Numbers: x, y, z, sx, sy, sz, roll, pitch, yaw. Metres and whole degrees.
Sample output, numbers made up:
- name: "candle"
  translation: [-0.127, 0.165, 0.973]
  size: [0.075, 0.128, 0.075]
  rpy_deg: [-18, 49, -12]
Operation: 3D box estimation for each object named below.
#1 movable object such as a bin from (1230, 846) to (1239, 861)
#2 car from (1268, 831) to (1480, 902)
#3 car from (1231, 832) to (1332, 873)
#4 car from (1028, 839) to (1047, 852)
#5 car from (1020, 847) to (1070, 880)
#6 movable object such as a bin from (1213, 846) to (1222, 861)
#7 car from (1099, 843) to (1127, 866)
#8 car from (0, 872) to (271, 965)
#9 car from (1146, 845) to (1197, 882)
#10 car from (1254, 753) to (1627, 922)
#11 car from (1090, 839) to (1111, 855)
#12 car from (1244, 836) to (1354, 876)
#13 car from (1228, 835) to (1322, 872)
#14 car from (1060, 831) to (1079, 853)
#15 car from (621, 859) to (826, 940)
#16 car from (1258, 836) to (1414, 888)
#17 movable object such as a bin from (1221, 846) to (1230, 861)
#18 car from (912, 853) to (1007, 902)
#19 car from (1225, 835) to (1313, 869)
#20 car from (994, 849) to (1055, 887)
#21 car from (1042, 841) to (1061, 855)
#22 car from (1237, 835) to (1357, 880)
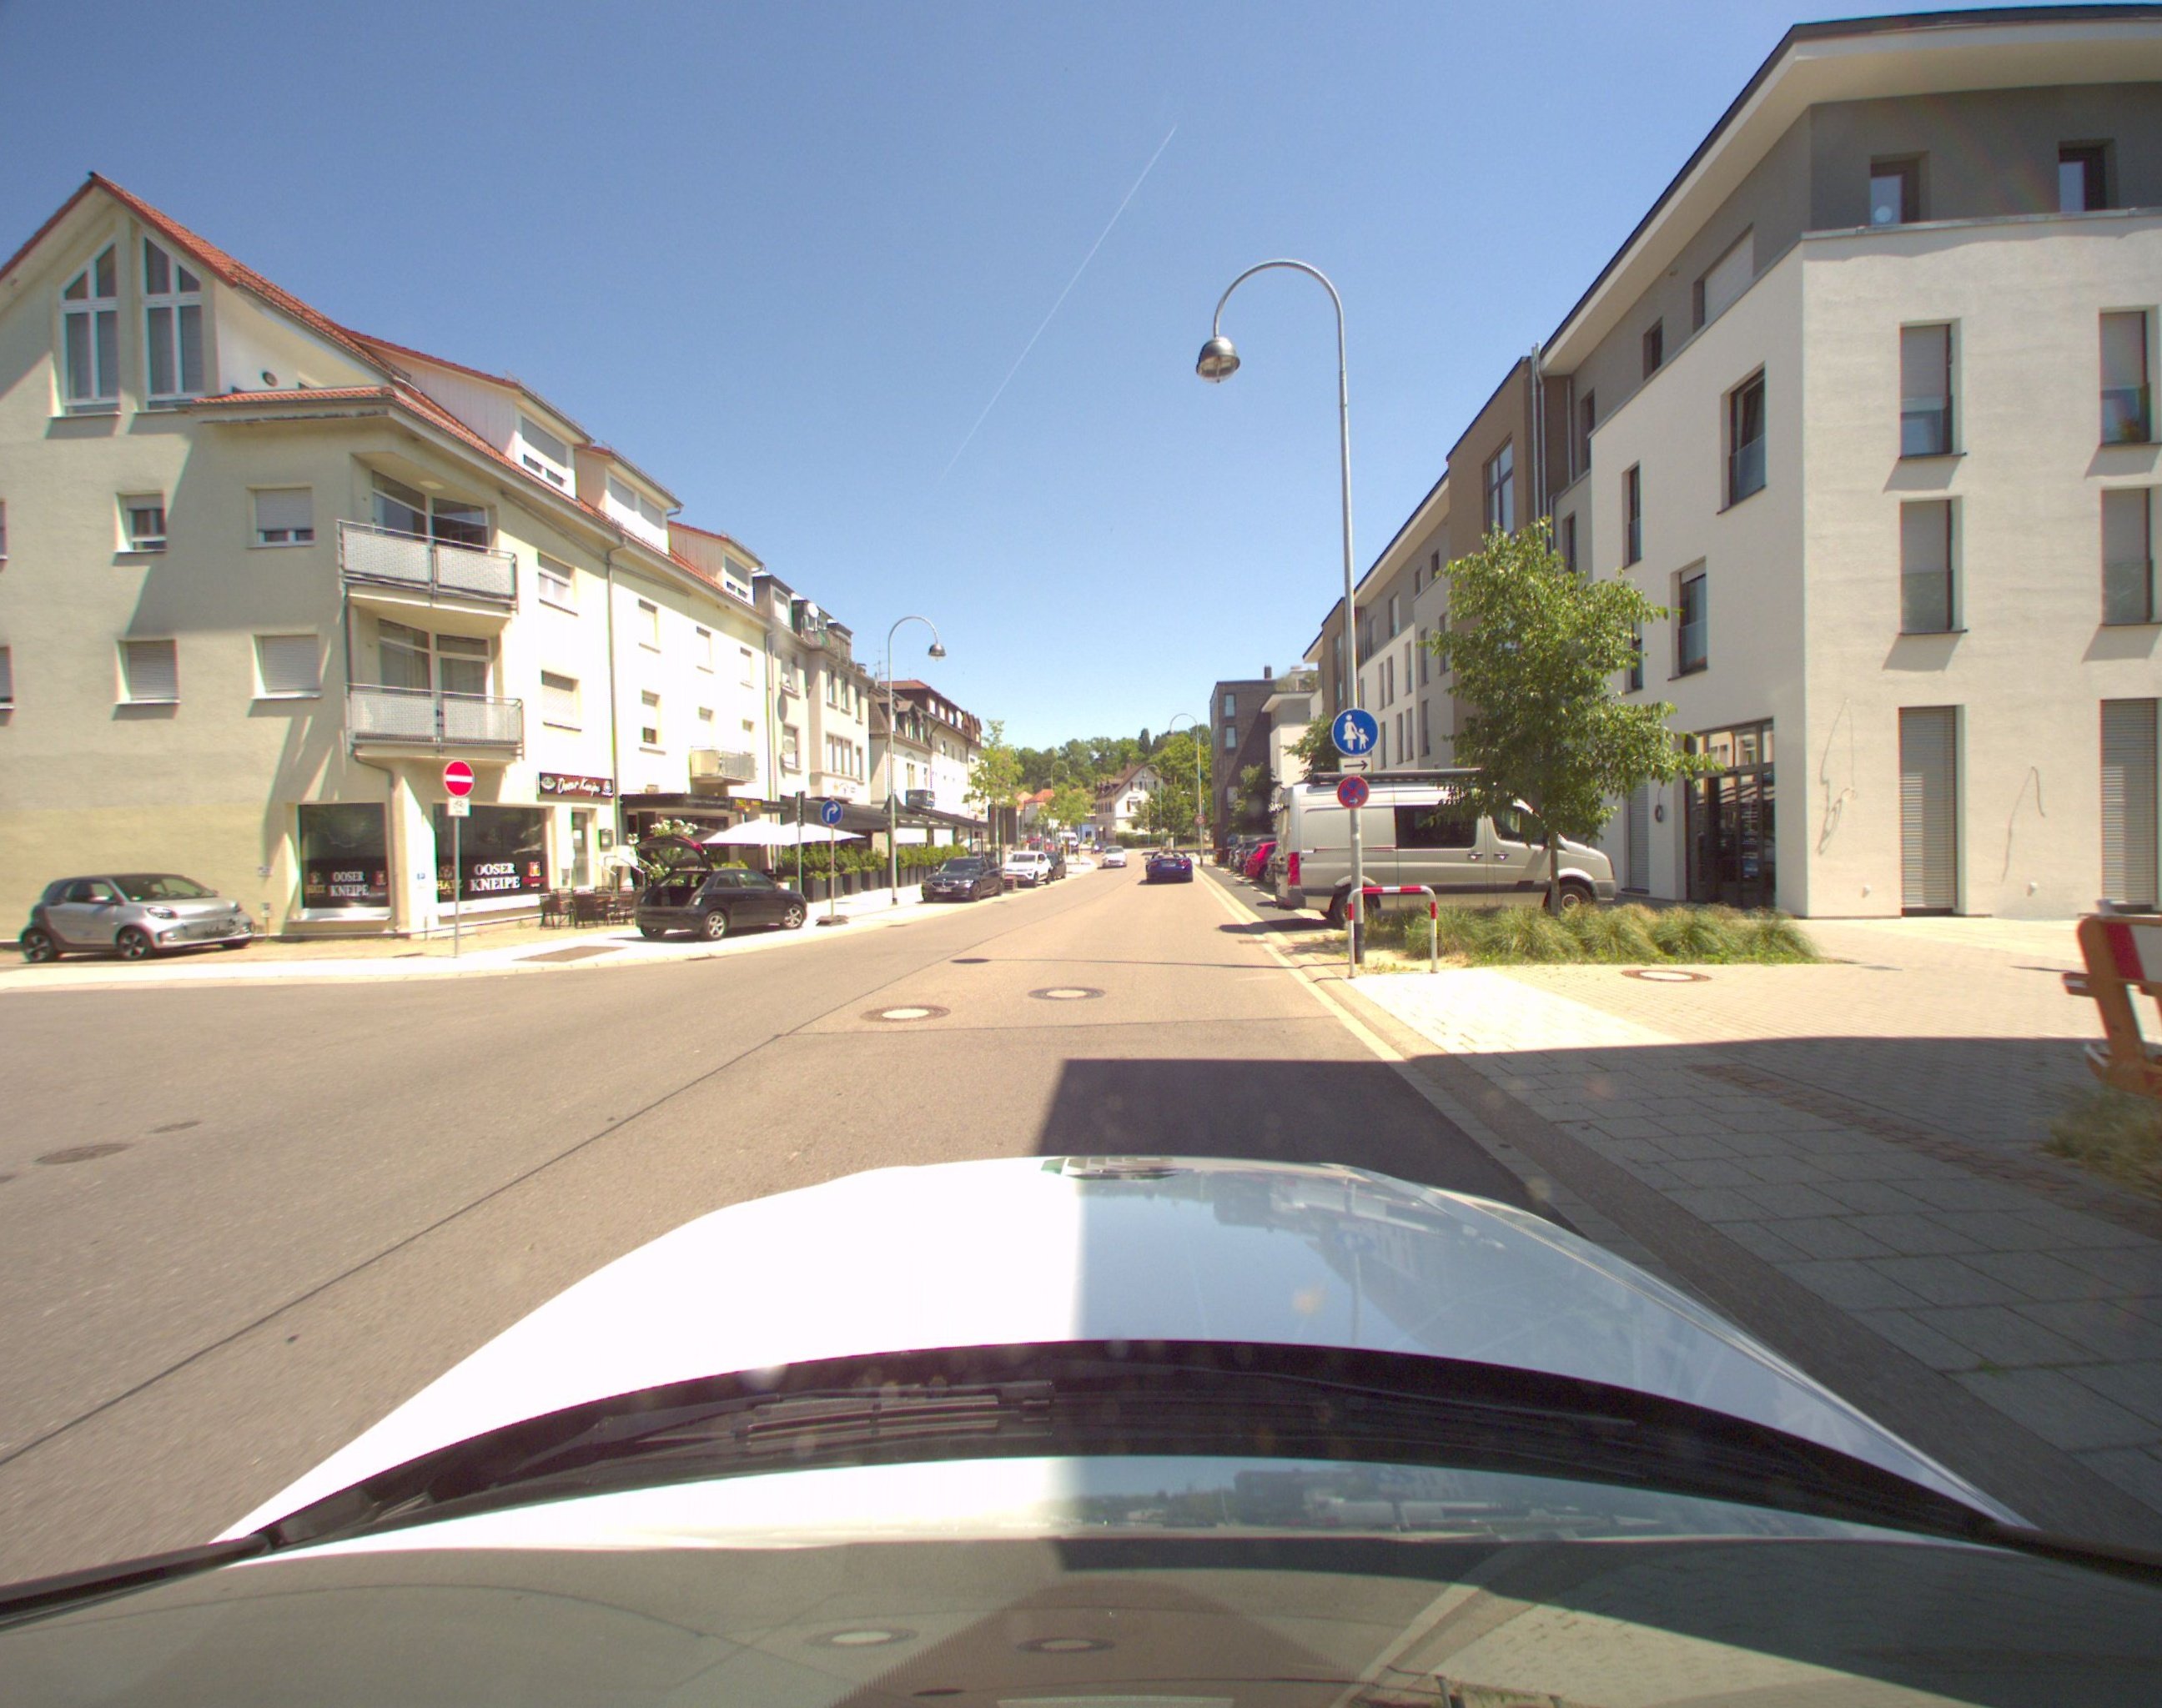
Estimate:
- name: "movable object such as a bin"
  translation: [9.871, -0.041, 52.496]
  size: [0.492, 0.929, 0.624]
  rpy_deg: [-4, 0, 7]
- name: "car"
  translation: [7.037, 0.291, 20.017]
  size: [4.563, 1.529, 2.004]
  rpy_deg: [-2, 0, 6]
- name: "car"
  translation: [8.589, -0.056, 35.196]
  size: [3.961, 1.605, 1.946]
  rpy_deg: [-2, 0, 5]
- name: "car"
  translation: [-6.020, -1.196, 112.943]
  size: [1.996, 1.692, 3.982]
  rpy_deg: [-1, 1, -13]
- name: "car"
  translation: [-1.751, 0.437, 40.934]
  size: [1.660, 1.443, 4.020]
  rpy_deg: [-2, 1, 9]
- name: "movable object such as a bin"
  translation: [8.816, -0.056, 52.619]
  size: [0.534, 0.929, 0.624]
  rpy_deg: [-4, 0, 7]
- name: "car"
  translation: [2.285, 0.012, 57.163]
  size: [1.679, 1.458, 4.064]
  rpy_deg: [-3, 1, 5]
- name: "car"
  translation: [-17.610, 1.158, 15.197]
  size: [3.250, 1.458, 1.693]
  rpy_deg: [-2, 1, 1]
- name: "car"
  translation: [3.882, 0.343, 34.380]
  size: [1.860, 1.342, 4.608]
  rpy_deg: [-3, 1, 9]
- name: "car"
  translation: [6.345, -0.271, 15.100]
  size: [5.910, 2.732, 2.200]
  rpy_deg: [-2, 0, 6]
- name: "car"
  translation: [2.152, -0.766, 90.997]
  size: [1.659, 1.606, 3.991]
  rpy_deg: [-4, 1, -7]
- name: "car"
  translation: [8.593, 0.076, 32.406]
  size: [3.961, 1.432, 1.765]
  rpy_deg: [-2, 0, 5]
- name: "car"
  translation: [8.913, -0.029, 37.665]
  size: [3.961, 1.529, 1.946]
  rpy_deg: [-2, 0, 5]
- name: "car"
  translation: [-1.330, -1.348, 91.855]
  size: [1.864, 2.400, 4.810]
  rpy_deg: [-2, 1, -5]
- name: "car"
  translation: [-7.438, 0.865, 17.444]
  size: [1.699, 1.460, 4.148]
  rpy_deg: [1, 0, 16]
- name: "car"
  translation: [7.780, 0.233, 25.171]
  size: [4.240, 1.416, 1.930]
  rpy_deg: [-2, 0, 3]
- name: "movable object such as a bin"
  translation: [9.351, -0.006, 52.549]
  size: [0.492, 0.929, 0.624]
  rpy_deg: [-4, 0, 7]
- name: "car"
  translation: [-4.033, 0.730, 27.931]
  size: [1.823, 1.429, 4.795]
  rpy_deg: [0, 1, 9]
- name: "car"
  translation: [9.096, -0.108, 39.662]
  size: [3.961, 1.529, 1.743]
  rpy_deg: [-2, 0, 5]
- name: "car"
  translation: [-2.372, 0.541, 35.399]
  size: [1.634, 1.479, 3.954]
  rpy_deg: [0, 1, 12]
- name: "car"
  translation: [-3.626, -0.734, 100.822]
  size: [1.992, 1.738, 3.991]
  rpy_deg: [-2, 0, -7]
- name: "car"
  translation: [7.835, 0.104, 29.839]
  size: [3.952, 1.408, 1.859]
  rpy_deg: [-3, 0, 5]
